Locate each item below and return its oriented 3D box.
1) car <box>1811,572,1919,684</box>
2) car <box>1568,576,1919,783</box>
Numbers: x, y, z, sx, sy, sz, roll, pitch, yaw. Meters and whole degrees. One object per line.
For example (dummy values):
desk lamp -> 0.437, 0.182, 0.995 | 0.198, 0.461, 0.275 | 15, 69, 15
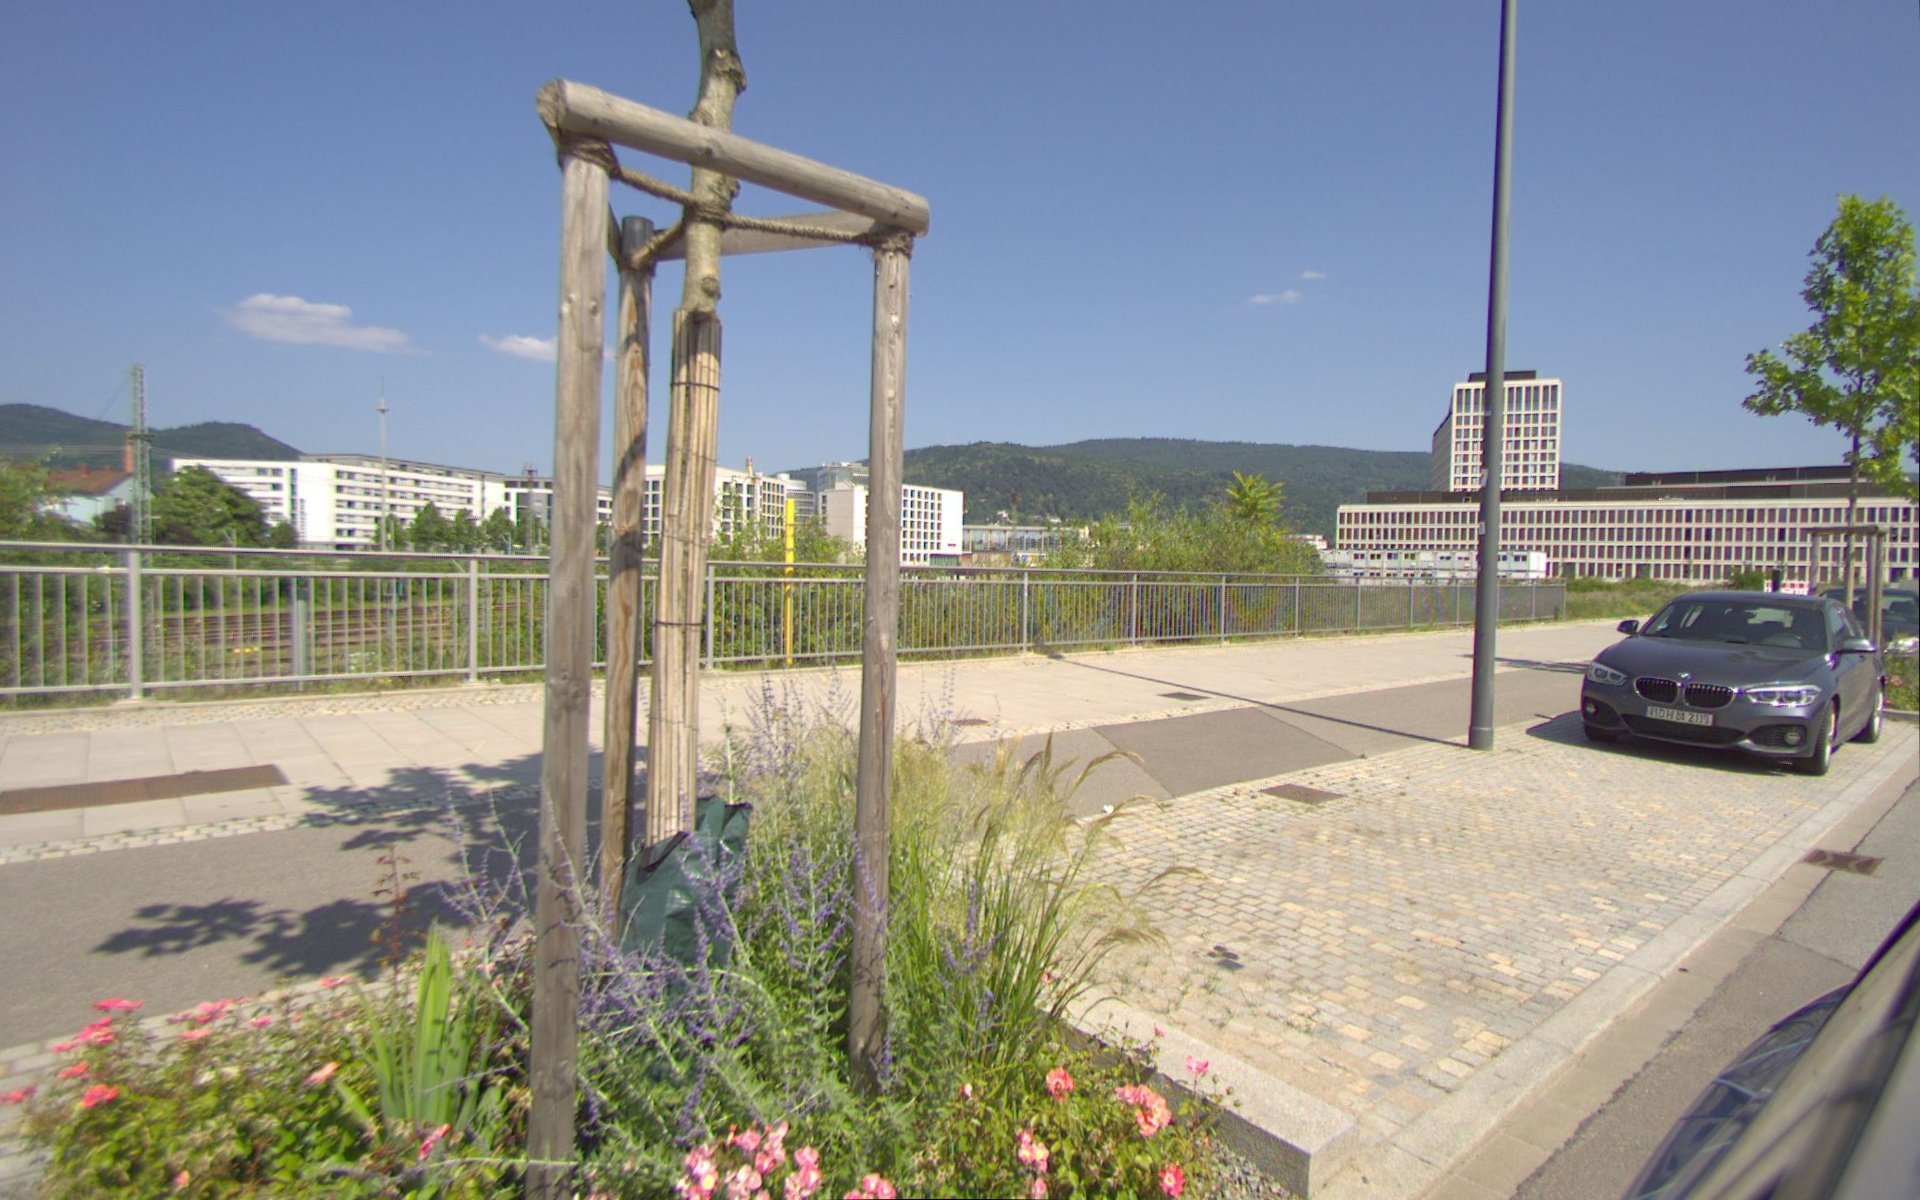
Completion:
car -> 14.786, 0.365, 15.859 | 3.888, 1.480, 1.707 | -3, 5, -43
car -> 7.459, 0.562, 9.445 | 4.194, 1.418, 1.709 | 0, 5, -40
